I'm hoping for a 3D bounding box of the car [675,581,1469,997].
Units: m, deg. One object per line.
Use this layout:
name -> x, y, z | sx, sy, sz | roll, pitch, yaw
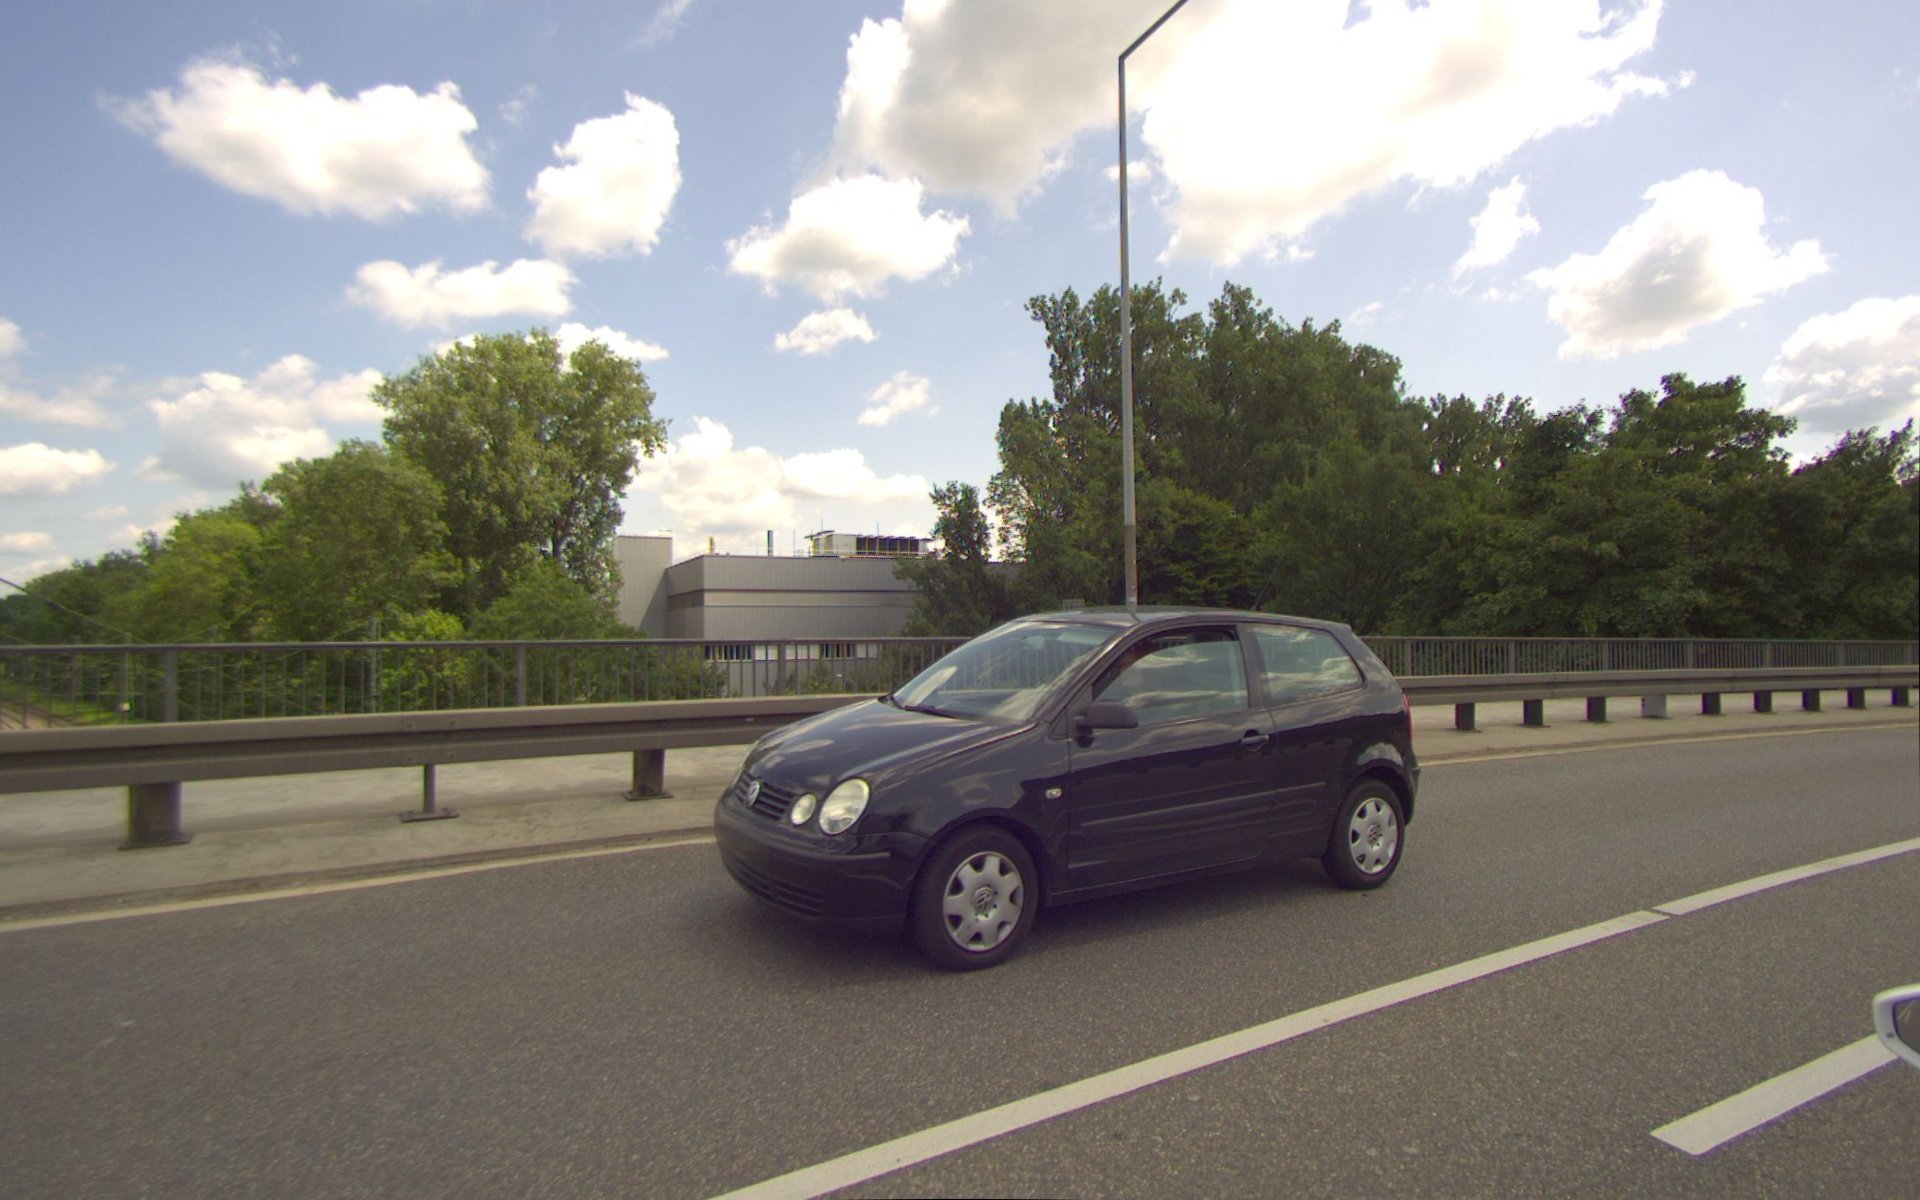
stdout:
car -> 0.671, 0.686, 5.325 | 3.880, 1.471, 1.806 | 1, 0, -30
